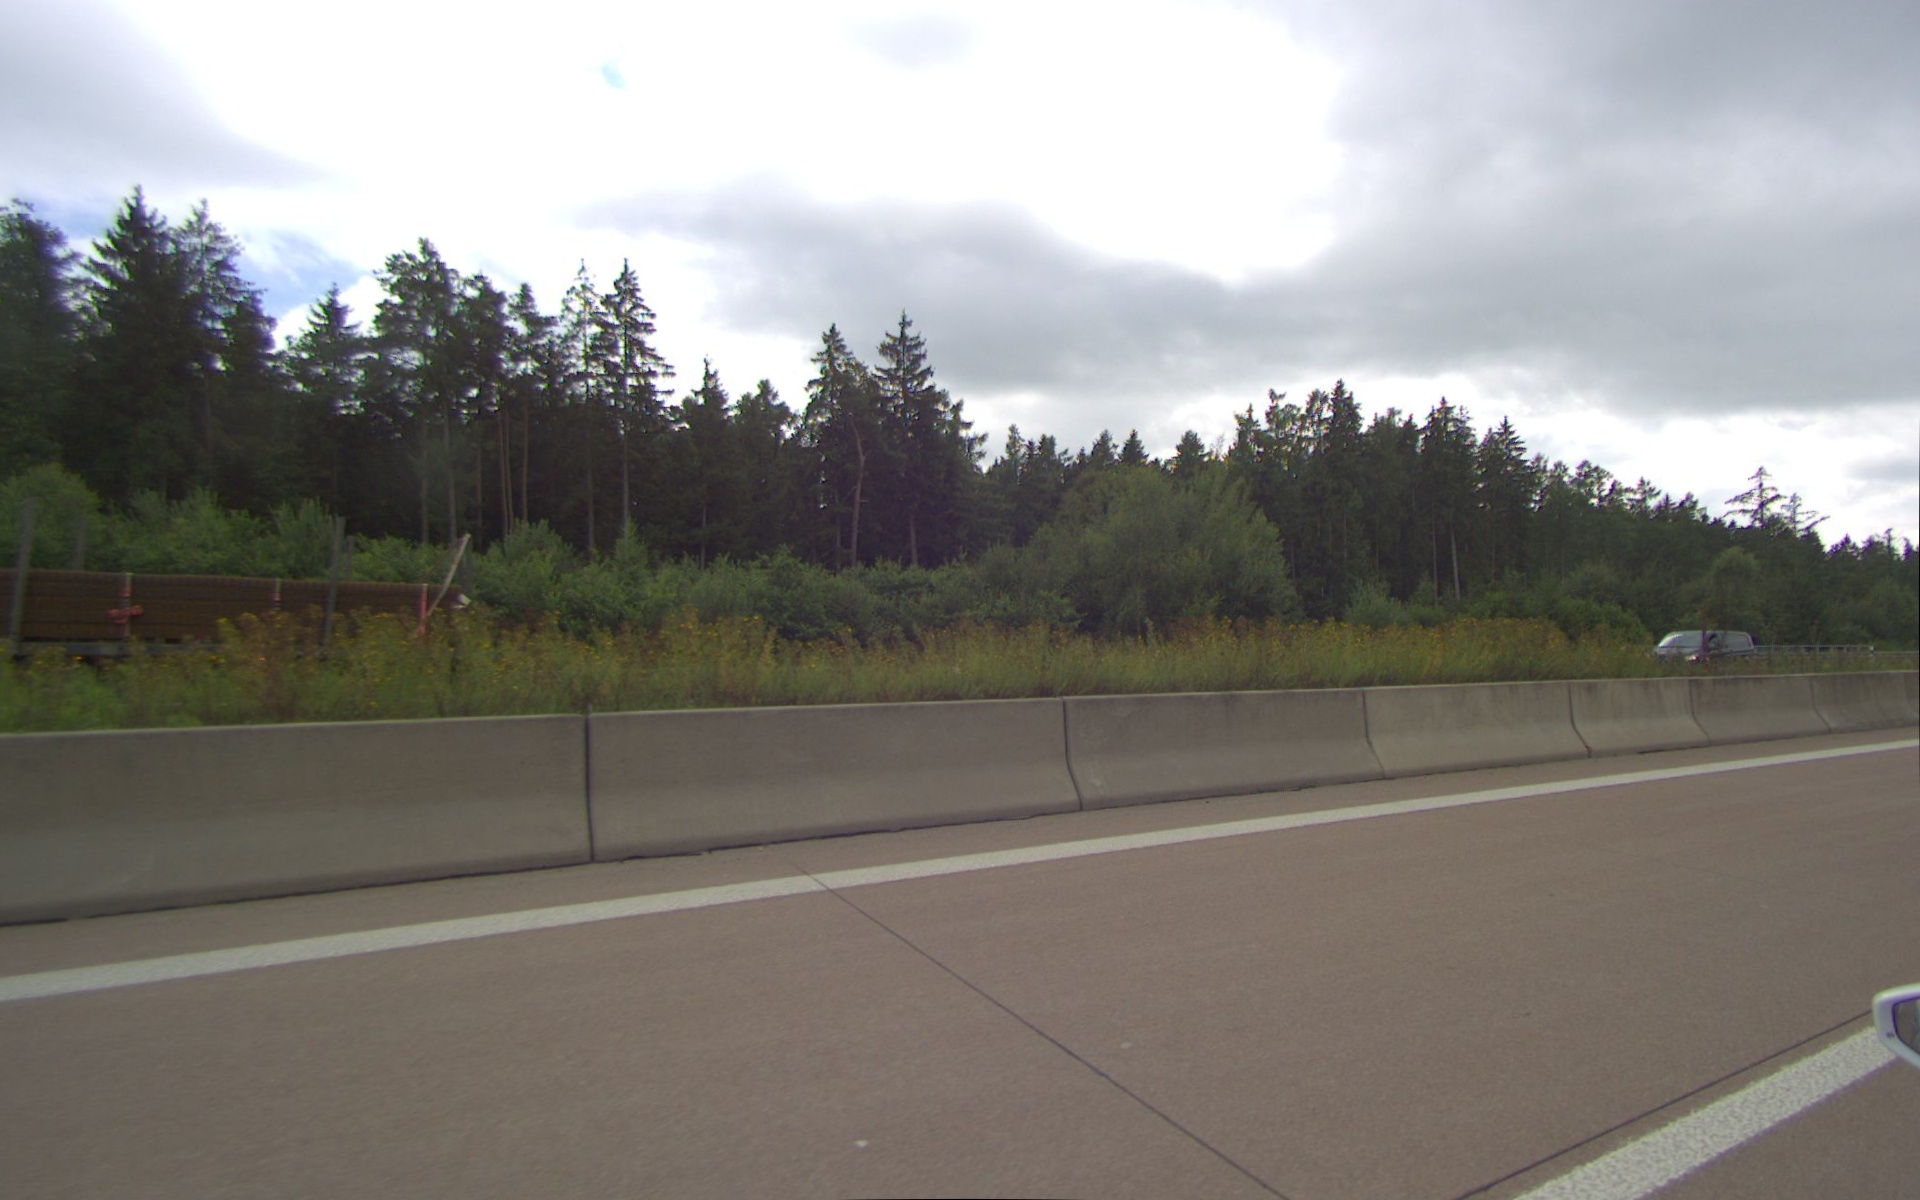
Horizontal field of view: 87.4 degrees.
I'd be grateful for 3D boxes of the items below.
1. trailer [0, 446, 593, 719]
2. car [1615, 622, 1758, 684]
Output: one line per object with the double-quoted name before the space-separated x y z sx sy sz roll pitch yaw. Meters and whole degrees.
"trailer" -12.382 -0.228 14.331 13.114 3.465 2.920 1 0 -30
"car" 27.095 1.949 37.458 5.204 2.041 2.245 2 2 -29
